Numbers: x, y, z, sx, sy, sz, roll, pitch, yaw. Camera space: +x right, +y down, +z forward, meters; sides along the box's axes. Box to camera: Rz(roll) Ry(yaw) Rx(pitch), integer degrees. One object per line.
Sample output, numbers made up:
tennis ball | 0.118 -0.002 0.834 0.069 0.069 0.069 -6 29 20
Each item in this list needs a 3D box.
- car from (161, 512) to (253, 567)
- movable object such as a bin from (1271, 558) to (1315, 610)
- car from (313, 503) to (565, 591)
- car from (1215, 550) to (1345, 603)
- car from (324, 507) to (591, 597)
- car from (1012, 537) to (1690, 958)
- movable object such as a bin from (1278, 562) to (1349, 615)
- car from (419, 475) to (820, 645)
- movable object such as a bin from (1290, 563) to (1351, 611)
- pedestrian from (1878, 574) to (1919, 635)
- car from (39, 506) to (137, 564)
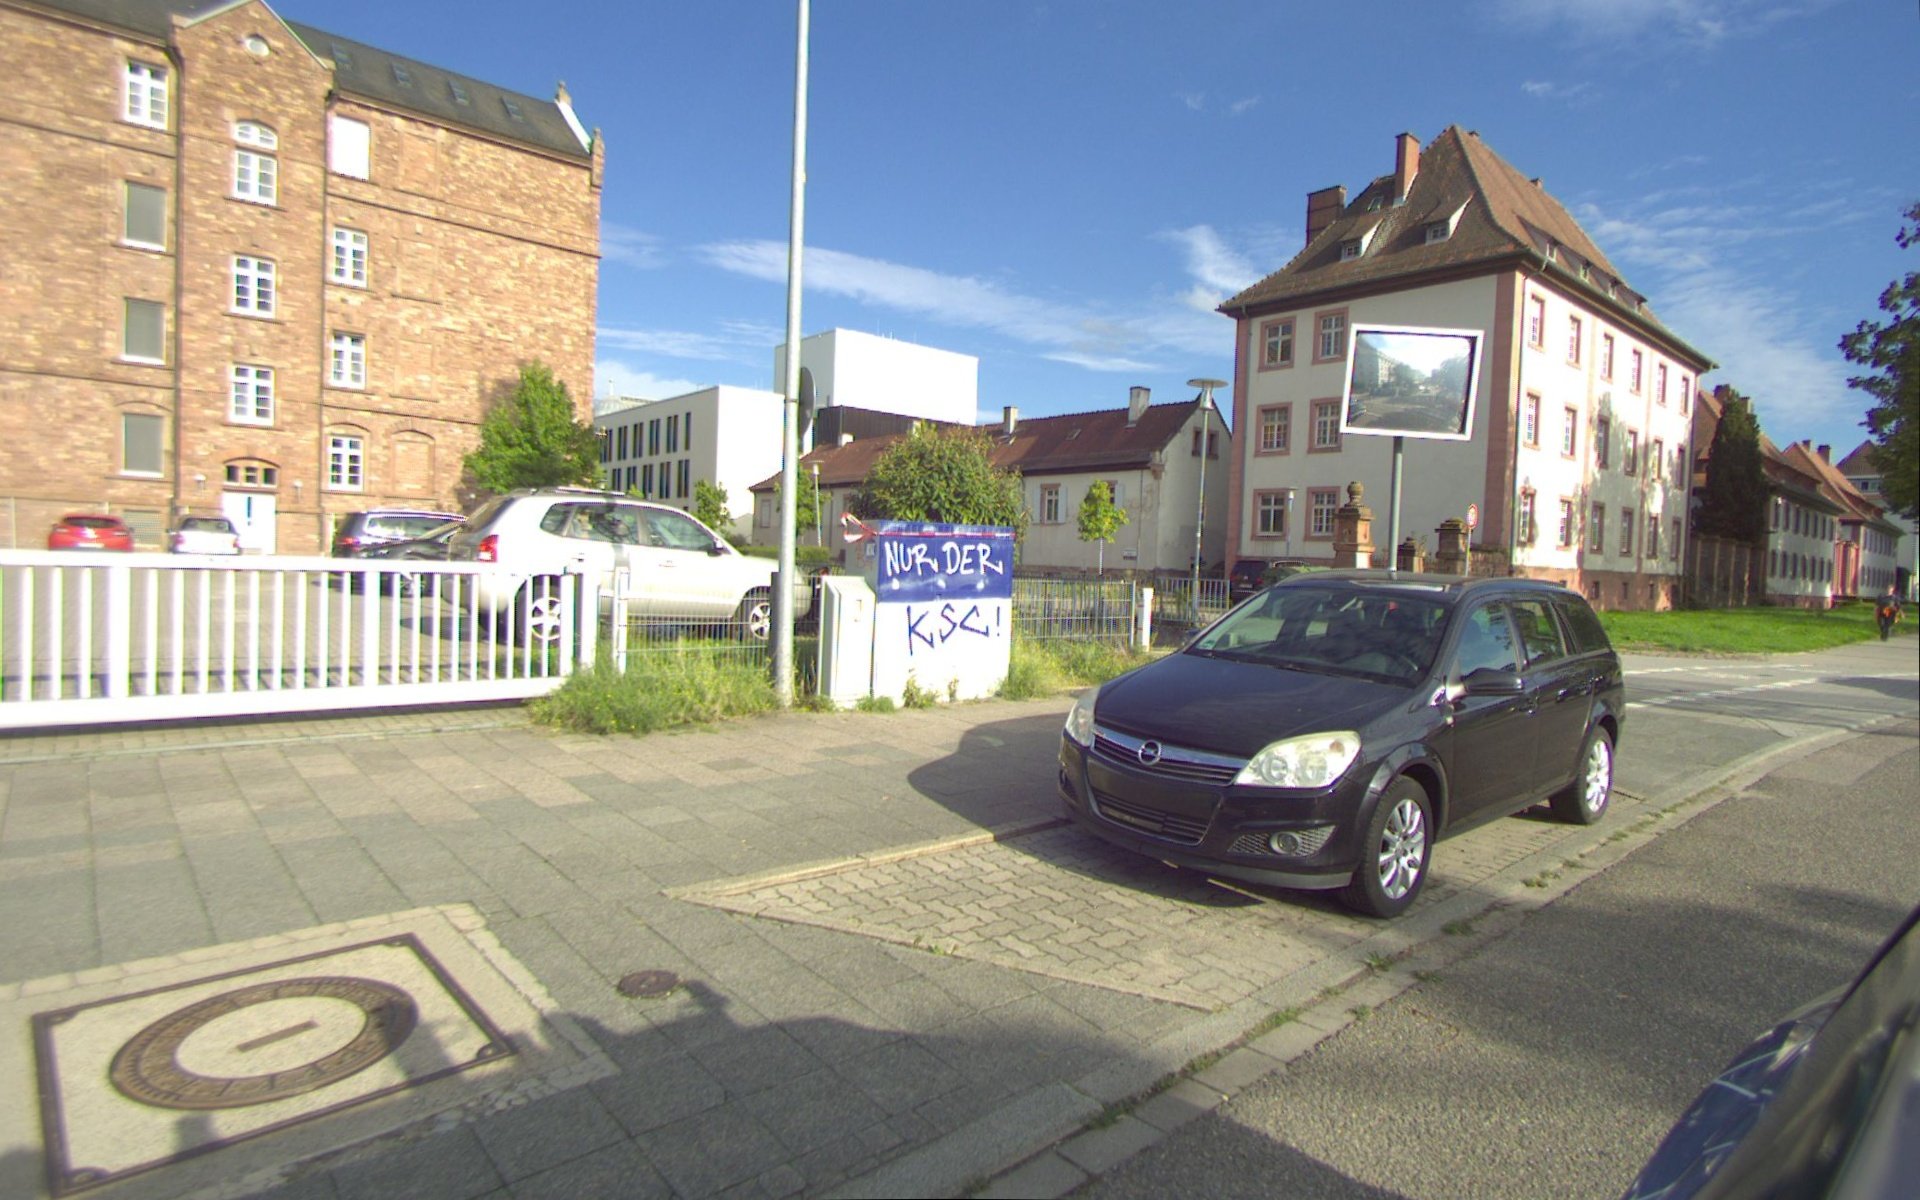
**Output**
car | -22.354 -1.815 29.984 1.965 1.459 3.997 0 4 -40
movable object such as a bin | 9.525 -0.458 28.933 0.927 1.440 0.831 0 2 -44
car | -11.619 -1.169 22.824 1.852 1.764 4.726 6 5 44
car | 10.883 -0.787 34.333 4.423 1.627 2.000 0 4 -38
car | -10.026 -0.952 20.387 4.525 1.608 1.855 -1 5 -40
car | 2.428 0.480 5.719 4.193 1.514 1.722 -1 4 -40
movable object such as a bin | 10.492 -0.359 30.057 1.519 1.477 1.415 0 3 -44
car | -3.962 -0.460 12.094 4.078 1.686 1.998 0 4 -40
movable object such as a bin | 9.921 -0.361 27.870 1.075 1.246 1.192 0 3 -44
pedestrian | 26.305 0.124 28.257 0.756 1.609 0.816 0 5 -41
car | -24.249 -1.837 28.224 1.965 1.459 3.997 0 4 -40
